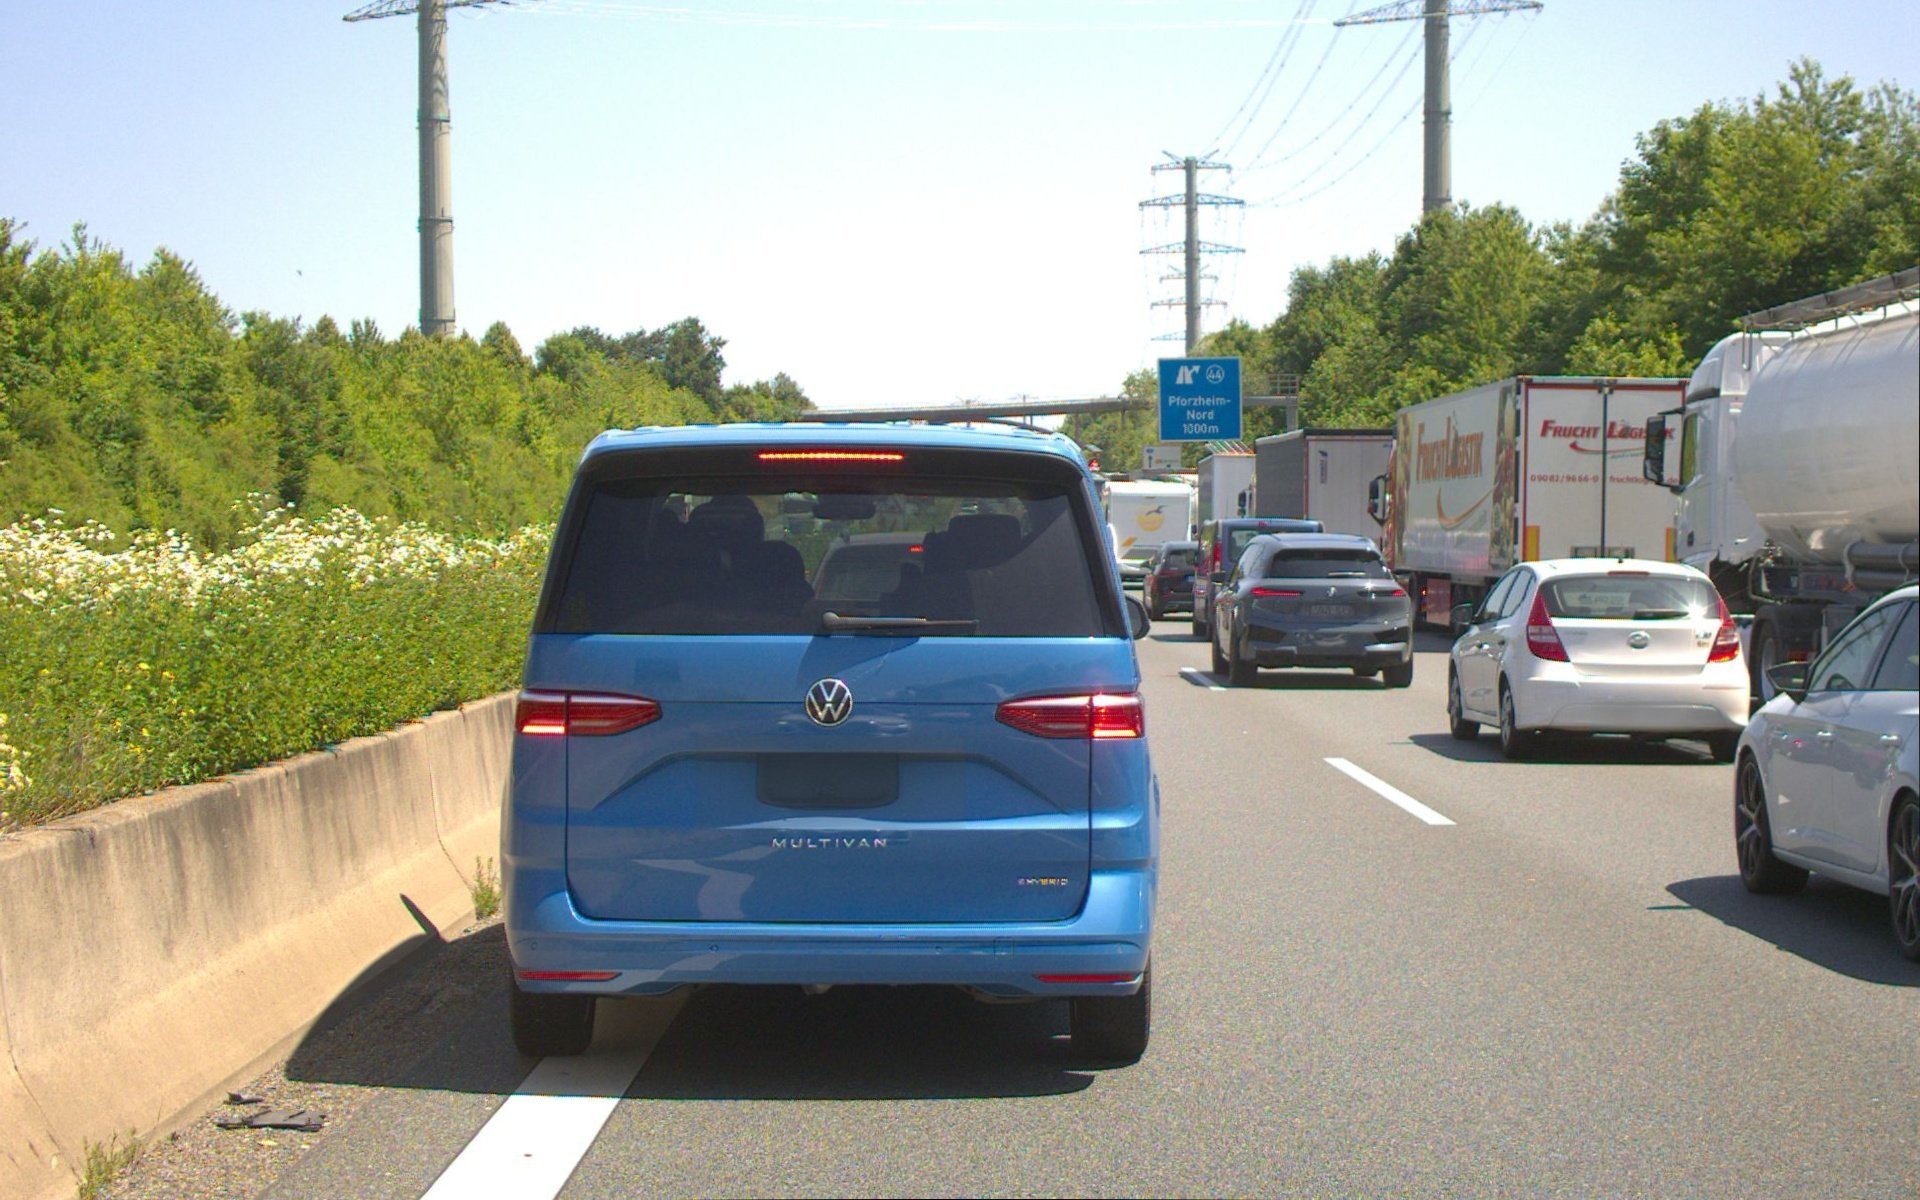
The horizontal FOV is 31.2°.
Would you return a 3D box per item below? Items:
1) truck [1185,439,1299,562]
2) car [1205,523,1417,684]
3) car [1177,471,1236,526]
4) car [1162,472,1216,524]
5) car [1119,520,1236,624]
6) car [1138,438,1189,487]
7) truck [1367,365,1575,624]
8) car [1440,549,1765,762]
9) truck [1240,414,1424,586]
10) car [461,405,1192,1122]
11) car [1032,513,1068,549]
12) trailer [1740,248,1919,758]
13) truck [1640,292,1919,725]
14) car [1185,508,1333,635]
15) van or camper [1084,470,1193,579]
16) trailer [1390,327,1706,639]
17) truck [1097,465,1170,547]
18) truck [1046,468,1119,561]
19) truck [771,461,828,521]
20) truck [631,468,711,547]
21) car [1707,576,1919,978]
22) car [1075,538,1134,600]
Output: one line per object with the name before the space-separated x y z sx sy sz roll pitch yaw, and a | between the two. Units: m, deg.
truck | 9.249 -3.188 114.241 2.895 3.754 13.344 0 0 1
car | 3.948 0.033 39.406 1.999 1.709 4.625 -1 0 1
car | 9.390 -3.867 131.131 1.993 2.007 4.000 0 0 0
car | 9.364 -4.169 140.871 1.993 2.007 4.000 0 0 0
car | 4.250 -0.532 67.807 1.923 1.919 4.236 -2 0 -1
car | 8.958 -6.057 151.502 1.993 2.007 4.000 0 0 0
truck | 9.194 -1.860 62.328 2.912 4.453 5.143 -1 1 0
car | 4.835 0.392 26.377 1.817 1.480 4.000 -1 0 1
truck | 8.809 -2.253 83.392 3.006 3.753 15.712 0 0 1
car | -0.346 0.400 11.117 1.920 1.880 4.000 1 1 0
car | 5.453 -4.173 208.543 1.993 2.118 4.000 0 0 0
trailer | 8.598 -0.746 25.820 2.761 3.831 11.487 -1 1 0
truck | 8.576 -0.858 33.336 2.793 3.823 5.572 -1 1 0
car | 4.791 -0.445 55.619 1.923 1.919 4.236 -2 0 -1
van or camper | 5.112 -2.141 99.385 2.957 3.011 7.102 0 0 2
trailer | 9.239 -1.755 55.615 2.912 4.453 12.155 -1 1 0
truck | 9.884 -5.313 196.700 3.566 4.502 10.294 0 0 0
truck | 5.184 -3.590 147.243 2.895 3.754 10.140 0 0 1
truck | -10.688 -7.221 229.527 3.172 3.806 11.944 1 1 0
truck | -14.444 -4.602 172.711 2.911 3.806 11.944 1 1 0
car | 4.313 0.617 13.749 1.747 1.438 4.313 -1 0 1
car | 4.813 -1.006 114.932 1.836 1.992 4.000 -2 0 2
